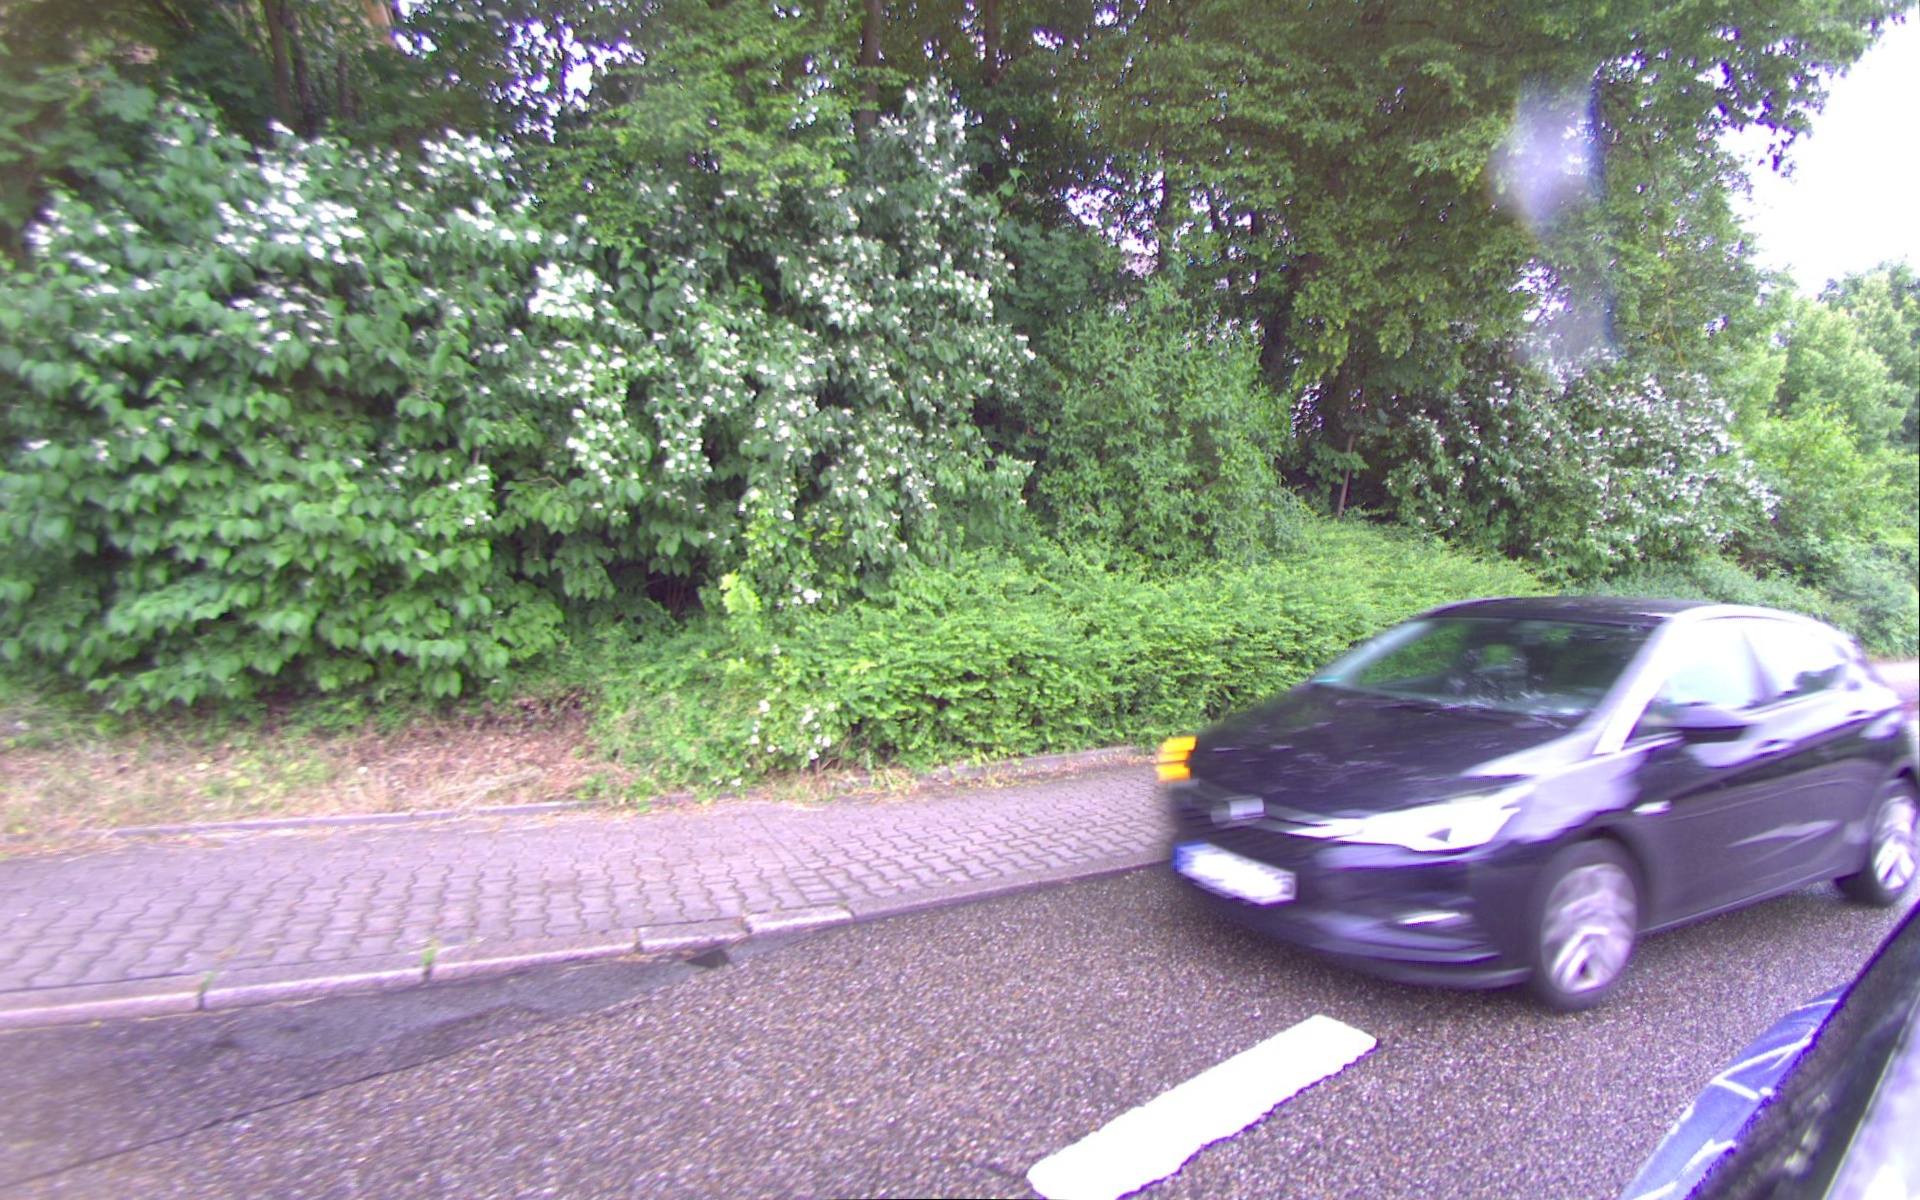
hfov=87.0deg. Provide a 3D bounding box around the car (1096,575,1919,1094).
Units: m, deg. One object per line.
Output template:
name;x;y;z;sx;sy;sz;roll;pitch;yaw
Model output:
car;2.851;0.679;4.824;4.080;1.460;1.821;0;4;-31
